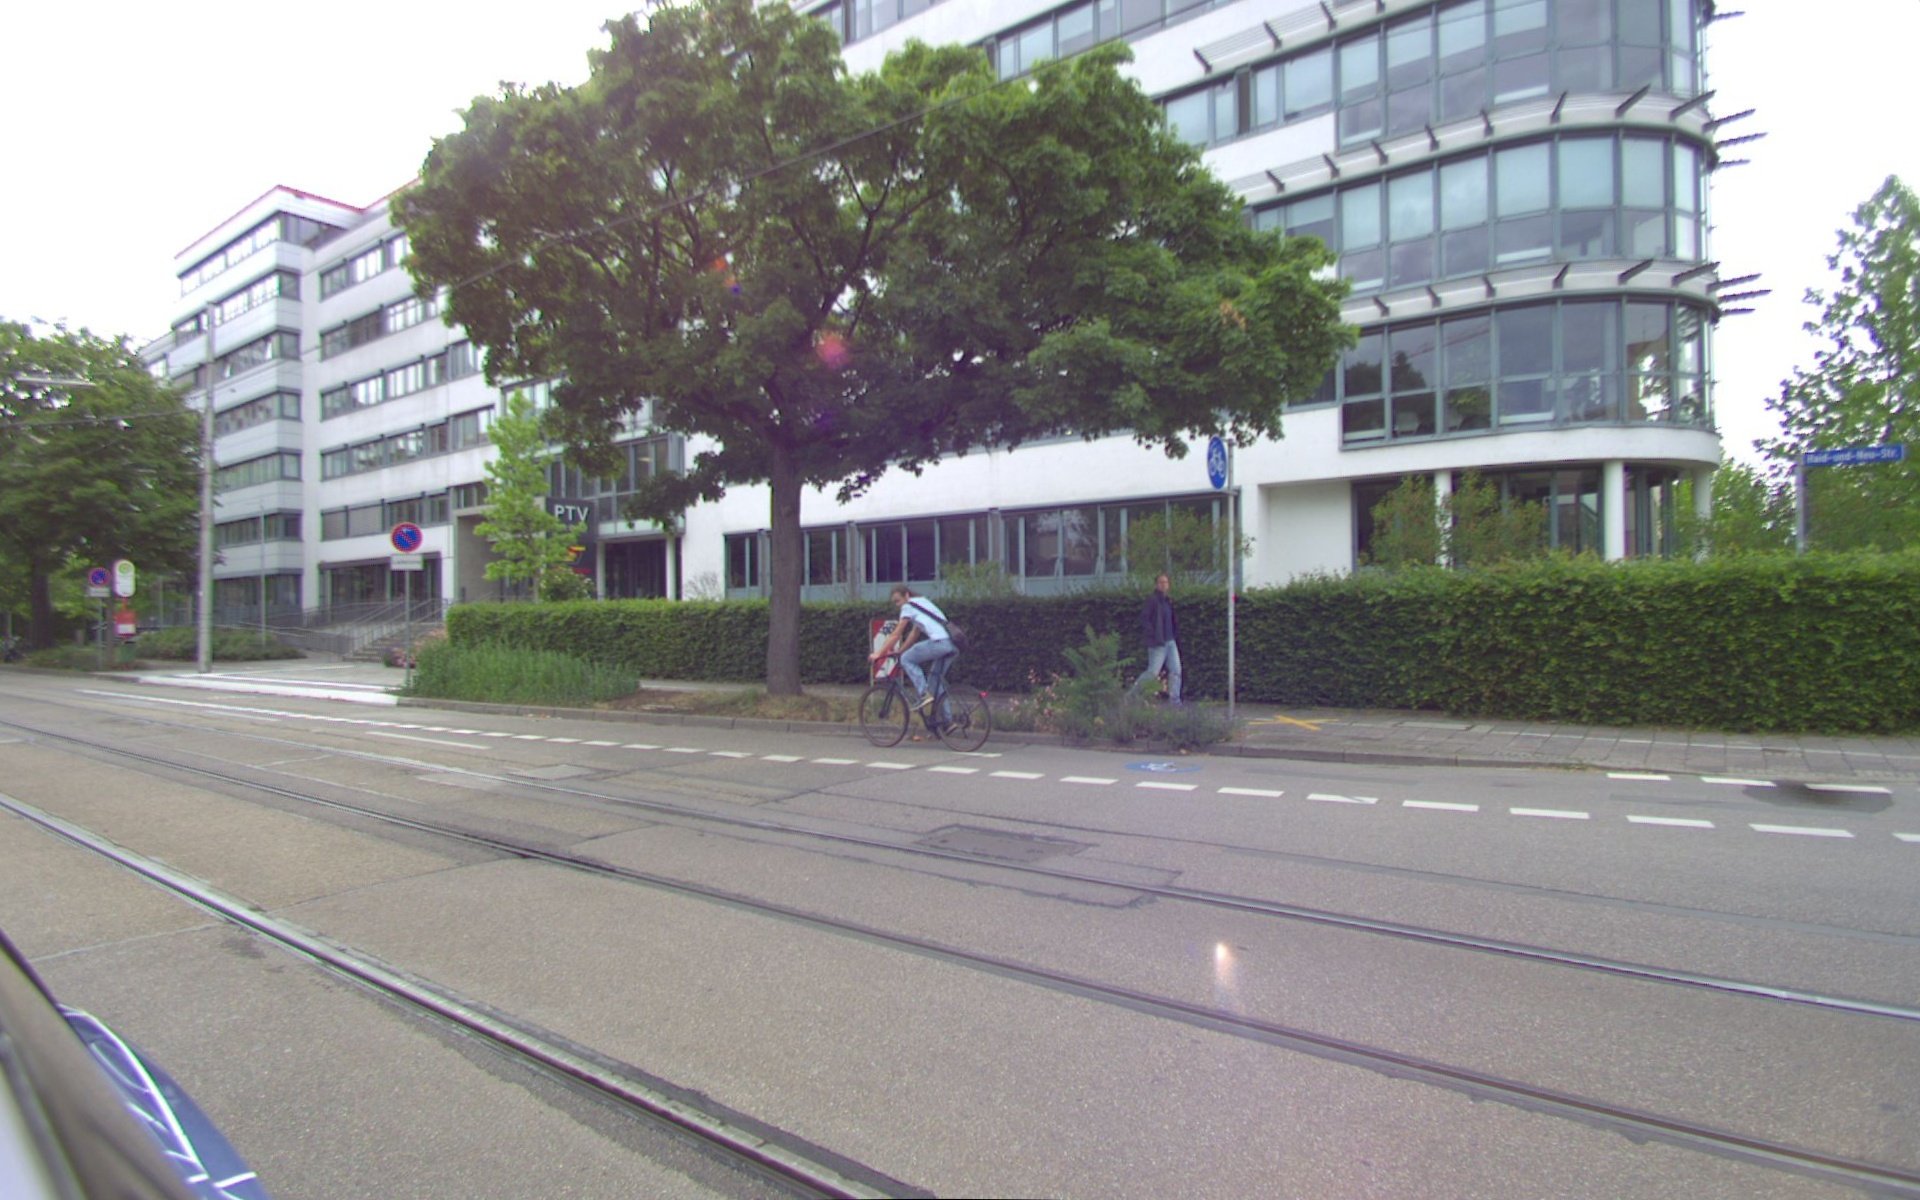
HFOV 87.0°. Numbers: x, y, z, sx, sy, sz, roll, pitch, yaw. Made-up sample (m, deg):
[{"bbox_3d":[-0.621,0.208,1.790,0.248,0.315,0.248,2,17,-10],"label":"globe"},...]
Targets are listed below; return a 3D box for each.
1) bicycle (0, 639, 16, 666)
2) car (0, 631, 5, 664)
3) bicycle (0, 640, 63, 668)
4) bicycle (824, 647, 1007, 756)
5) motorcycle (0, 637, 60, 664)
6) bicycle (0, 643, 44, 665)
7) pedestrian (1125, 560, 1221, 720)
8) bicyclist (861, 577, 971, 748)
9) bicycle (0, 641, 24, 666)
[{"bbox_3d":[-43.886,2.367,45.622,0.632,1.195,1.845,-2,-2,41],"label":"bicycle"},{"bbox_3d":[-46.359,2.274,47.226,4.745,1.505,1.864,-2,0,37],"label":"car"},{"bbox_3d":[-37.893,2.175,41.301,0.738,1.061,1.816,-2,-1,28],"label":"bicycle"},{"bbox_3d":[-0.499,1.063,10.960,1.947,1.082,0.583,-1,-2,27],"label":"bicycle"},{"bbox_3d":[-39.475,2.116,42.957,0.730,1.058,1.775,-1,0,30],"label":"motorcycle"},{"bbox_3d":[-40.867,2.337,43.736,0.630,0.906,1.793,-1,-2,30],"label":"bicycle"},{"bbox_3d":[2.829,0.510,13.456,0.991,2.029,0.702,-1,0,44],"label":"pedestrian"},{"bbox_3d":[-0.475,0.661,11.014,0.974,1.762,0.731,-1,-2,27],"label":"bicyclist"},{"bbox_3d":[-42.918,2.379,44.981,0.630,1.108,1.793,-1,-2,30],"label":"bicycle"}]
